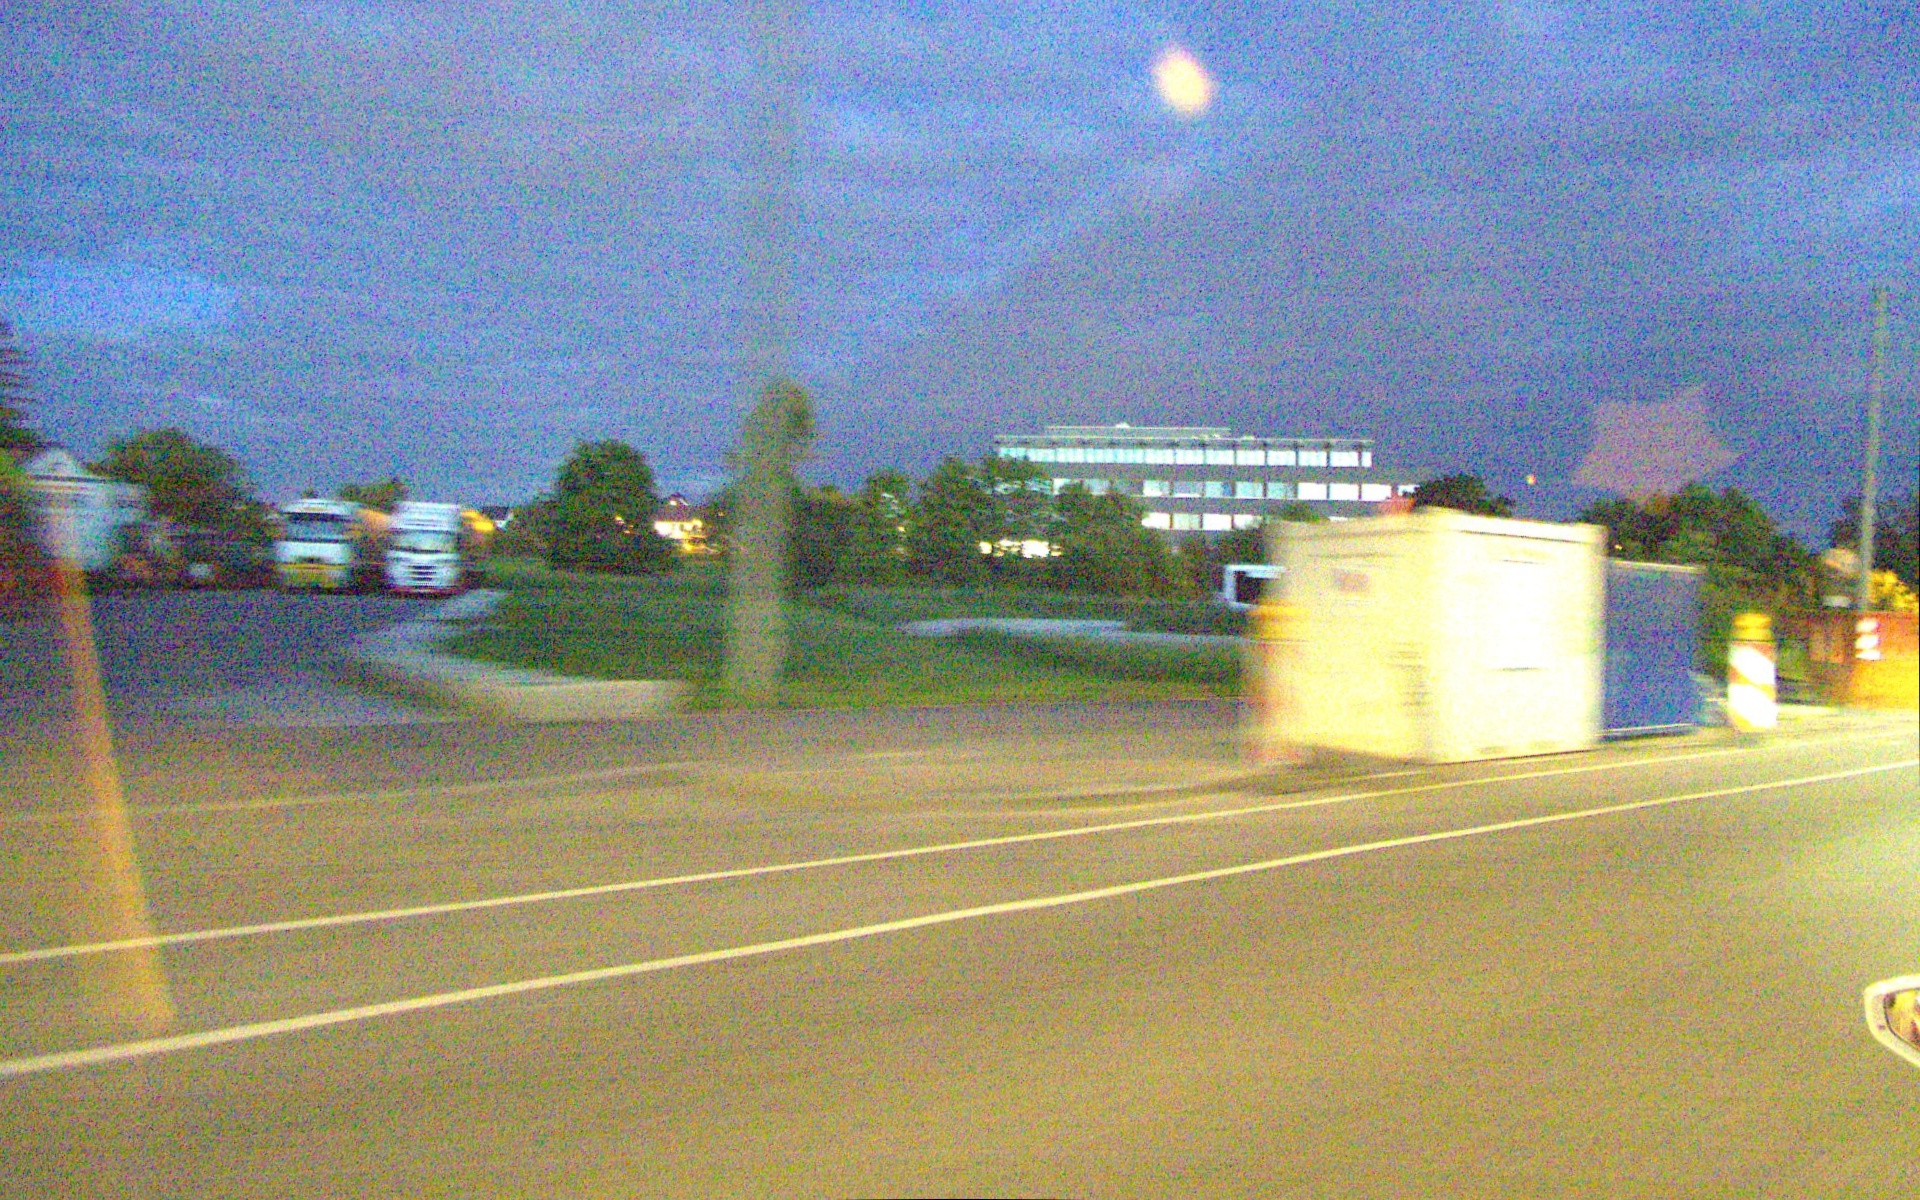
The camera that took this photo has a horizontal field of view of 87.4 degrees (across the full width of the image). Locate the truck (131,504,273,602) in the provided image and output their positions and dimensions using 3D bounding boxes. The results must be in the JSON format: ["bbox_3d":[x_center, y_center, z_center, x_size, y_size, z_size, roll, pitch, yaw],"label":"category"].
[{"bbox_3d":[-32.879,-1.941,43.877,3.120,3.892,5.825,2,1,-18],"label":"truck"}]

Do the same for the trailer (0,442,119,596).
[{"bbox_3d":[-34.048,-2.638,29.305,14.743,4.416,3.060,2,2,-13],"label":"trailer"}]

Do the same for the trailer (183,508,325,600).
[{"bbox_3d":[-34.875,-2.153,50.098,3.046,4.065,9.224,2,1,-17],"label":"trailer"}]

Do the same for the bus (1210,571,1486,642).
[{"bbox_3d":[18.378,0.290,48.071,12.033,3.022,2.953,1,0,-1],"label":"bus"}]

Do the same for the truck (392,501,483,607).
[{"bbox_3d":[-22.758,-1.926,43.984,2.928,4.291,4.711,2,1,-21],"label":"truck"}]

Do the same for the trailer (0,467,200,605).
[{"bbox_3d":[-35.084,-2.353,34.116,14.743,4.416,3.060,2,2,-13],"label":"trailer"}]

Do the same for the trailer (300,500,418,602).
[{"bbox_3d":[-29.010,-2.218,49.026,2.928,4.291,11.149,2,1,-21],"label":"trailer"}]

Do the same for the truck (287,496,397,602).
[{"bbox_3d":[-27.457,-2.146,44.908,2.928,4.291,6.472,2,1,-21],"label":"truck"}]

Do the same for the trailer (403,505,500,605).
[{"bbox_3d":[-25.026,-2.082,49.997,2.928,4.291,11.879,2,1,-21],"label":"trailer"}]

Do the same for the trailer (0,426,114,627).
[{"bbox_3d":[-28.150,-1.922,22.135,14.741,4.416,3.060,2,2,-12],"label":"trailer"}]
